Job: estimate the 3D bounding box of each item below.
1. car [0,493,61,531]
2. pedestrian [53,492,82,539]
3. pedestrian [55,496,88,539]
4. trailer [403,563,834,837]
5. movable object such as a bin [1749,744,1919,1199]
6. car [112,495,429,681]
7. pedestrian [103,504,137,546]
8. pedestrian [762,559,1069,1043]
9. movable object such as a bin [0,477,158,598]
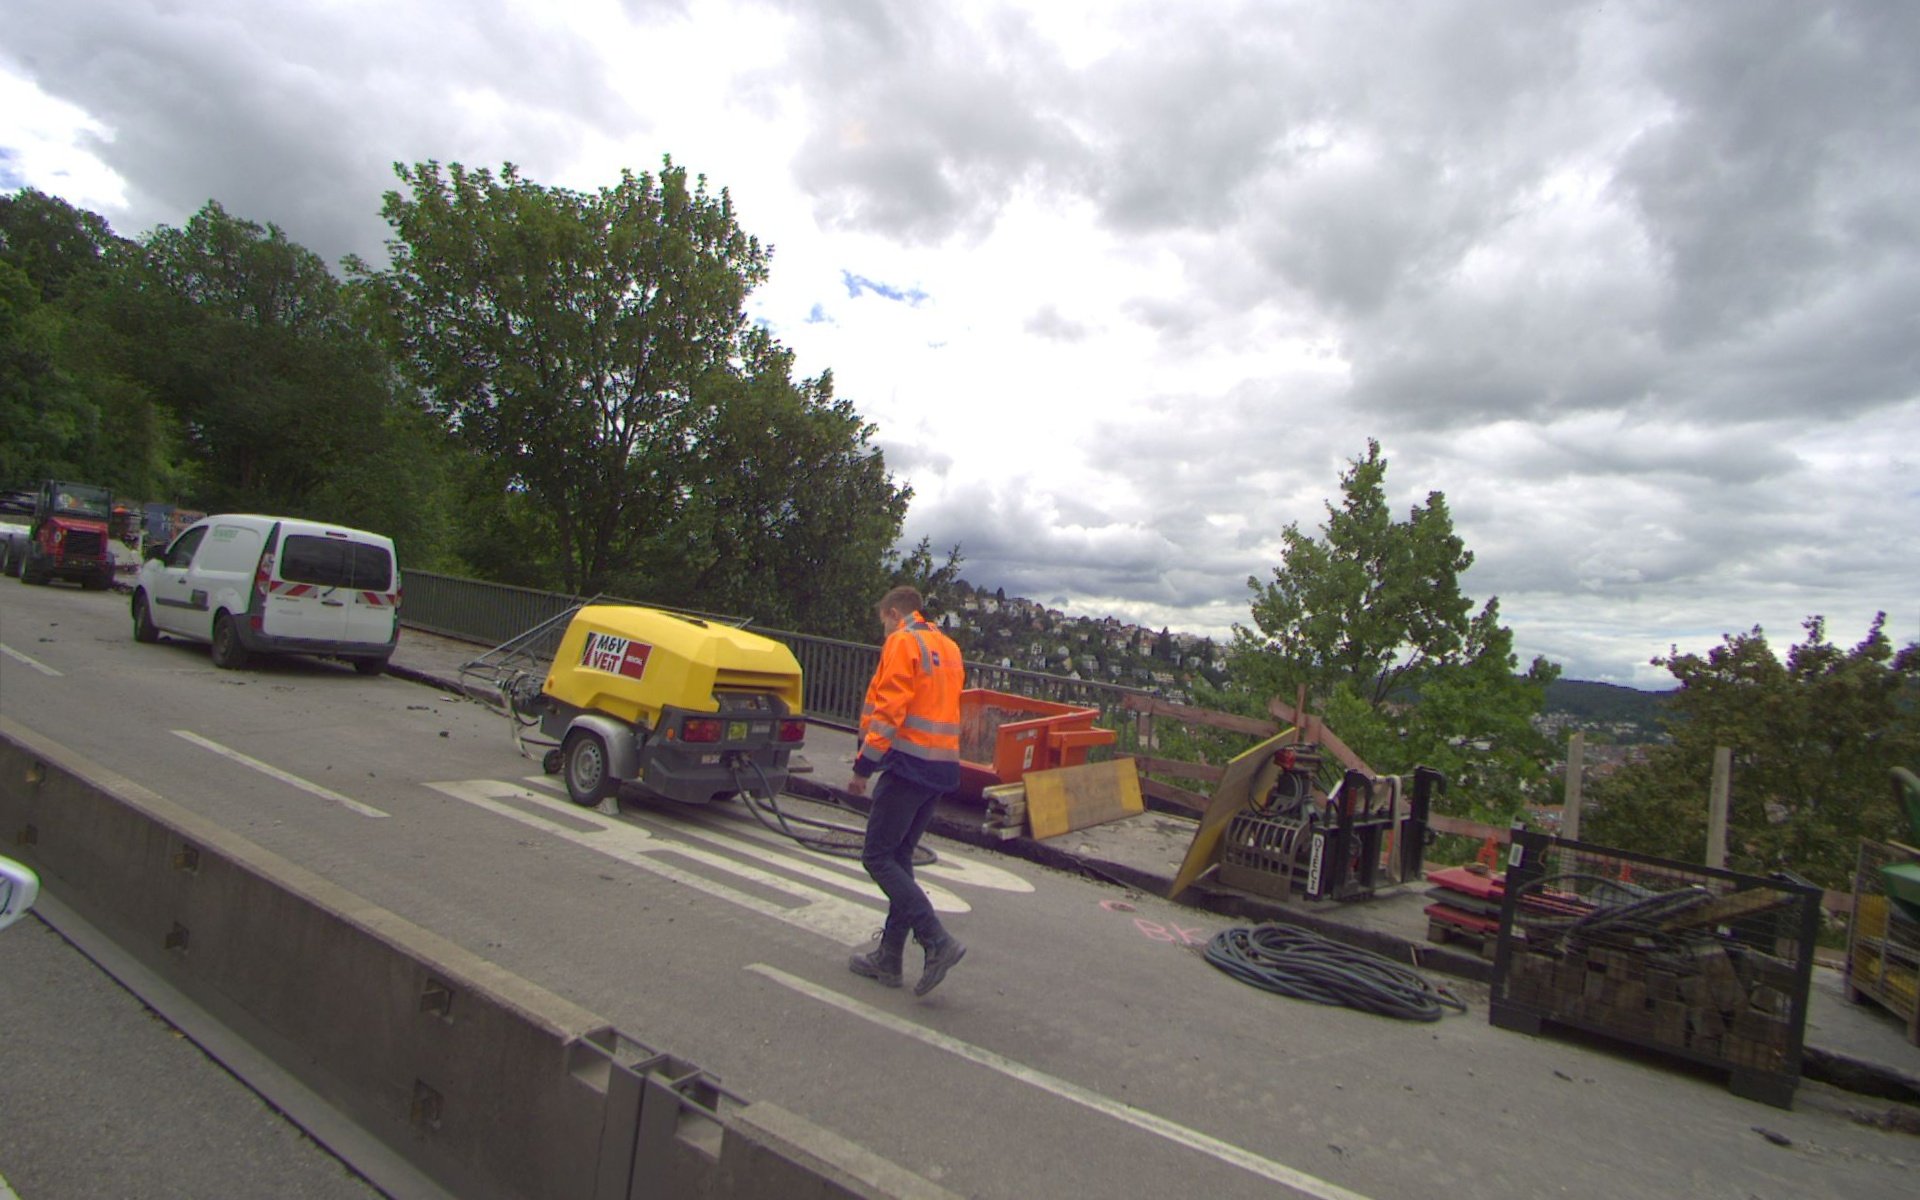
[{"bbox_3d":[-48.821,-4.576,52.410,1.794,1.683,3.974,7,0,-26],"label":"car"},{"bbox_3d":[-39.021,-3.694,43.978,0.814,1.929,0.689,7,0,41],"label":"pedestrian"},{"bbox_3d":[-39.655,-3.683,44.916,0.871,1.752,0.869,7,0,-37],"label":"pedestrian"},{"bbox_3d":[-2.814,0.660,7.937,3.578,1.492,1.289,7,-2,37],"label":"trailer"},{"bbox_3d":[6.850,1.798,2.724,6.977,1.579,2.381,7,-2,29],"label":"movable object such as a bin"},{"bbox_3d":[-8.847,-0.196,12.804,4.201,1.800,1.834,7,-1,35],"label":"car"},{"bbox_3d":[-37.251,-3.304,44.621,0.774,1.708,0.781,7,0,-21],"label":"pedestrian"},{"bbox_3d":[-0.173,0.765,4.198,0.836,1.721,0.647,7,-2,31],"label":"pedestrian"},{"bbox_3d":[-17.864,-1.289,20.226,4.103,1.965,1.701,7,-2,39],"label":"movable object such as a bin"}]
